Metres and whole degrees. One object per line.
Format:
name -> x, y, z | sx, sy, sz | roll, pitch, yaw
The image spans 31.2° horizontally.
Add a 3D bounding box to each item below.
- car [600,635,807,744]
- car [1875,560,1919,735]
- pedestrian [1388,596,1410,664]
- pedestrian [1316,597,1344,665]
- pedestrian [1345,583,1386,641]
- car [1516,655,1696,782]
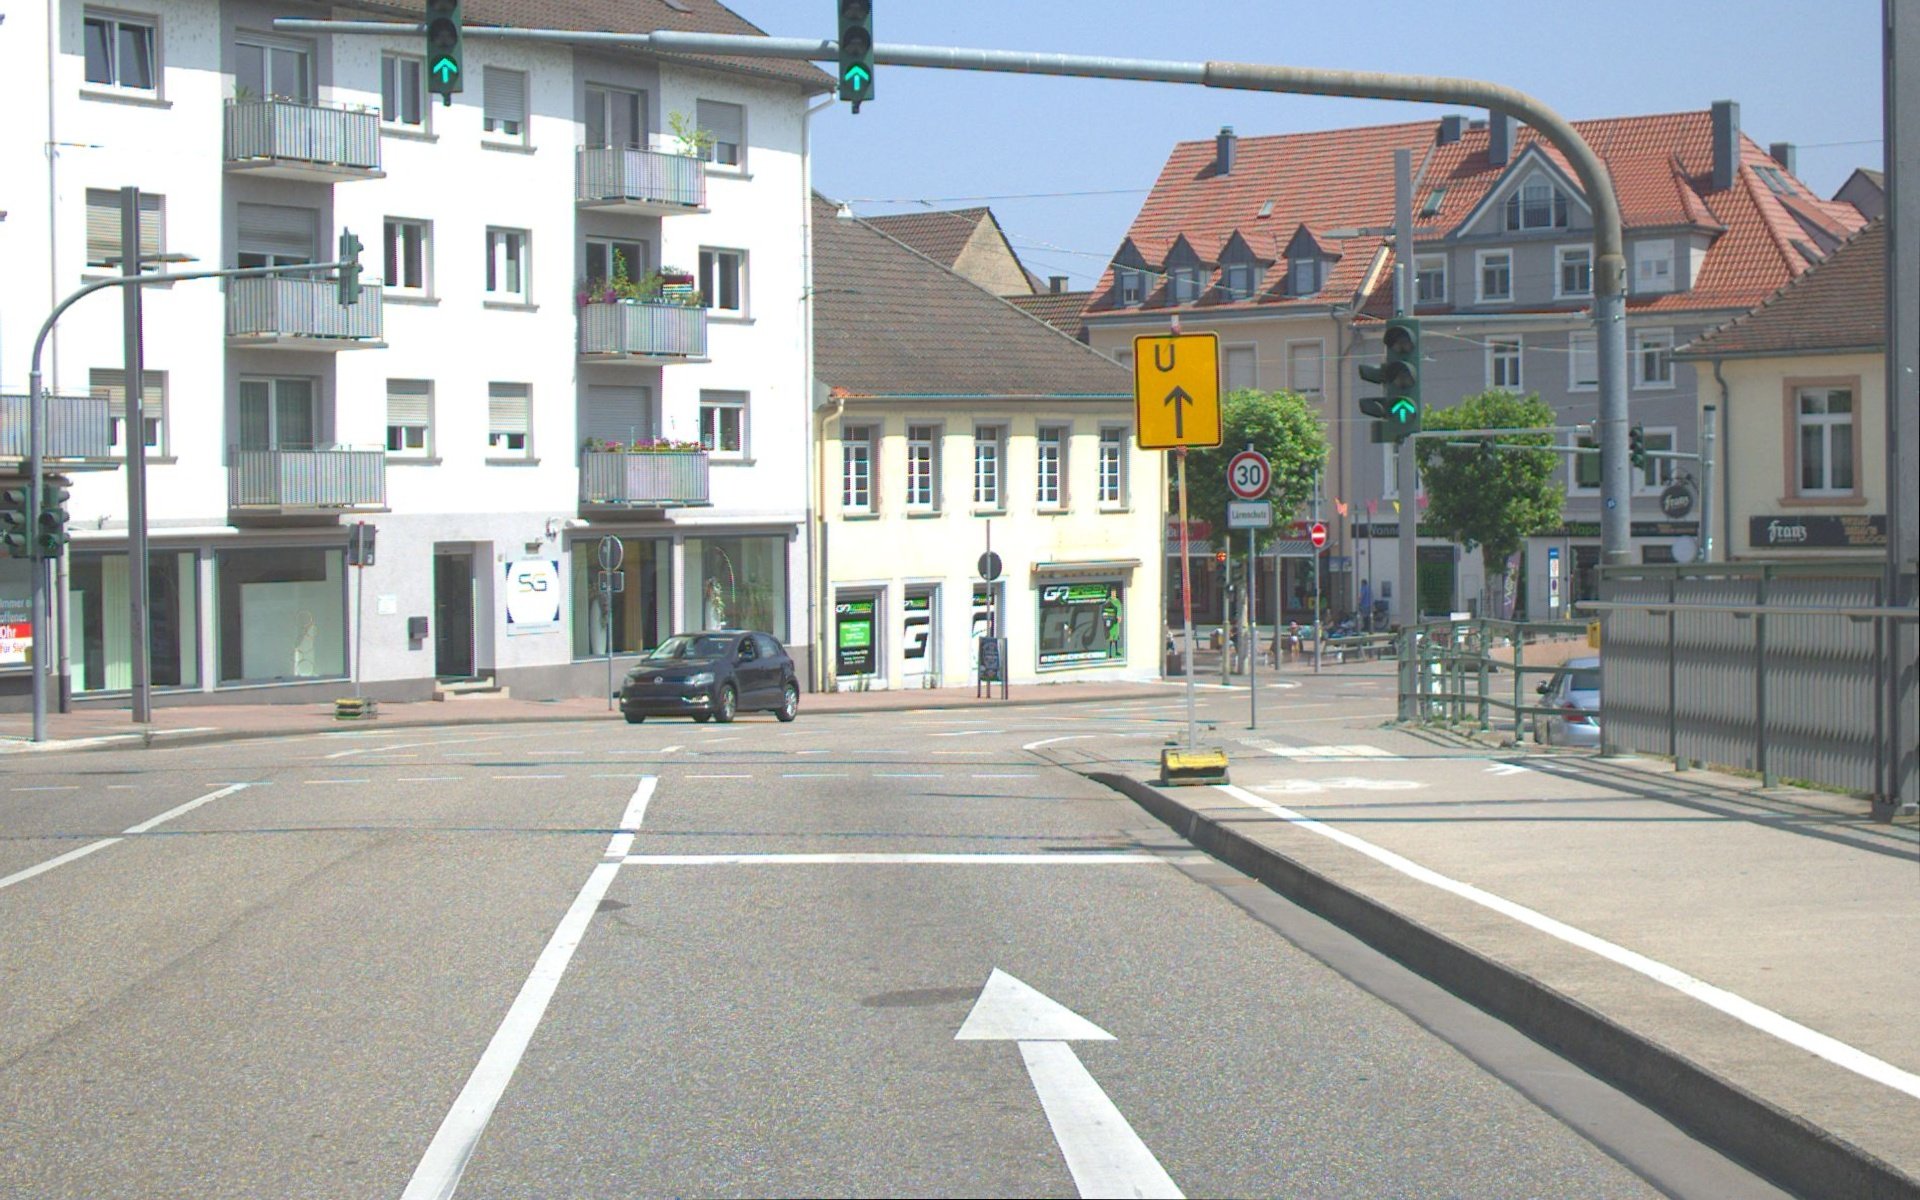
car -> -3.867, 1.347, 52.541 | 1.678, 1.483, 3.951 | -2, 0, 19
car -> 16.839, 0.720, 51.541 | 5.624, 2.619, 2.238 | 1, 1, 31
pedestrian -> 13.178, 0.905, 103.120 | 0.610, 2.007, 0.554 | 1, 1, 10
pedestrian -> 11.058, 0.911, 102.694 | 0.769, 2.007, 0.562 | 1, 1, 10
pedestrian -> 14.139, 0.415, 119.918 | 1.032, 1.974, 1.018 | 1, 1, 32
car -> 8.219, 1.477, 44.035 | 1.752, 1.466, 4.252 | 1, 0, 4
